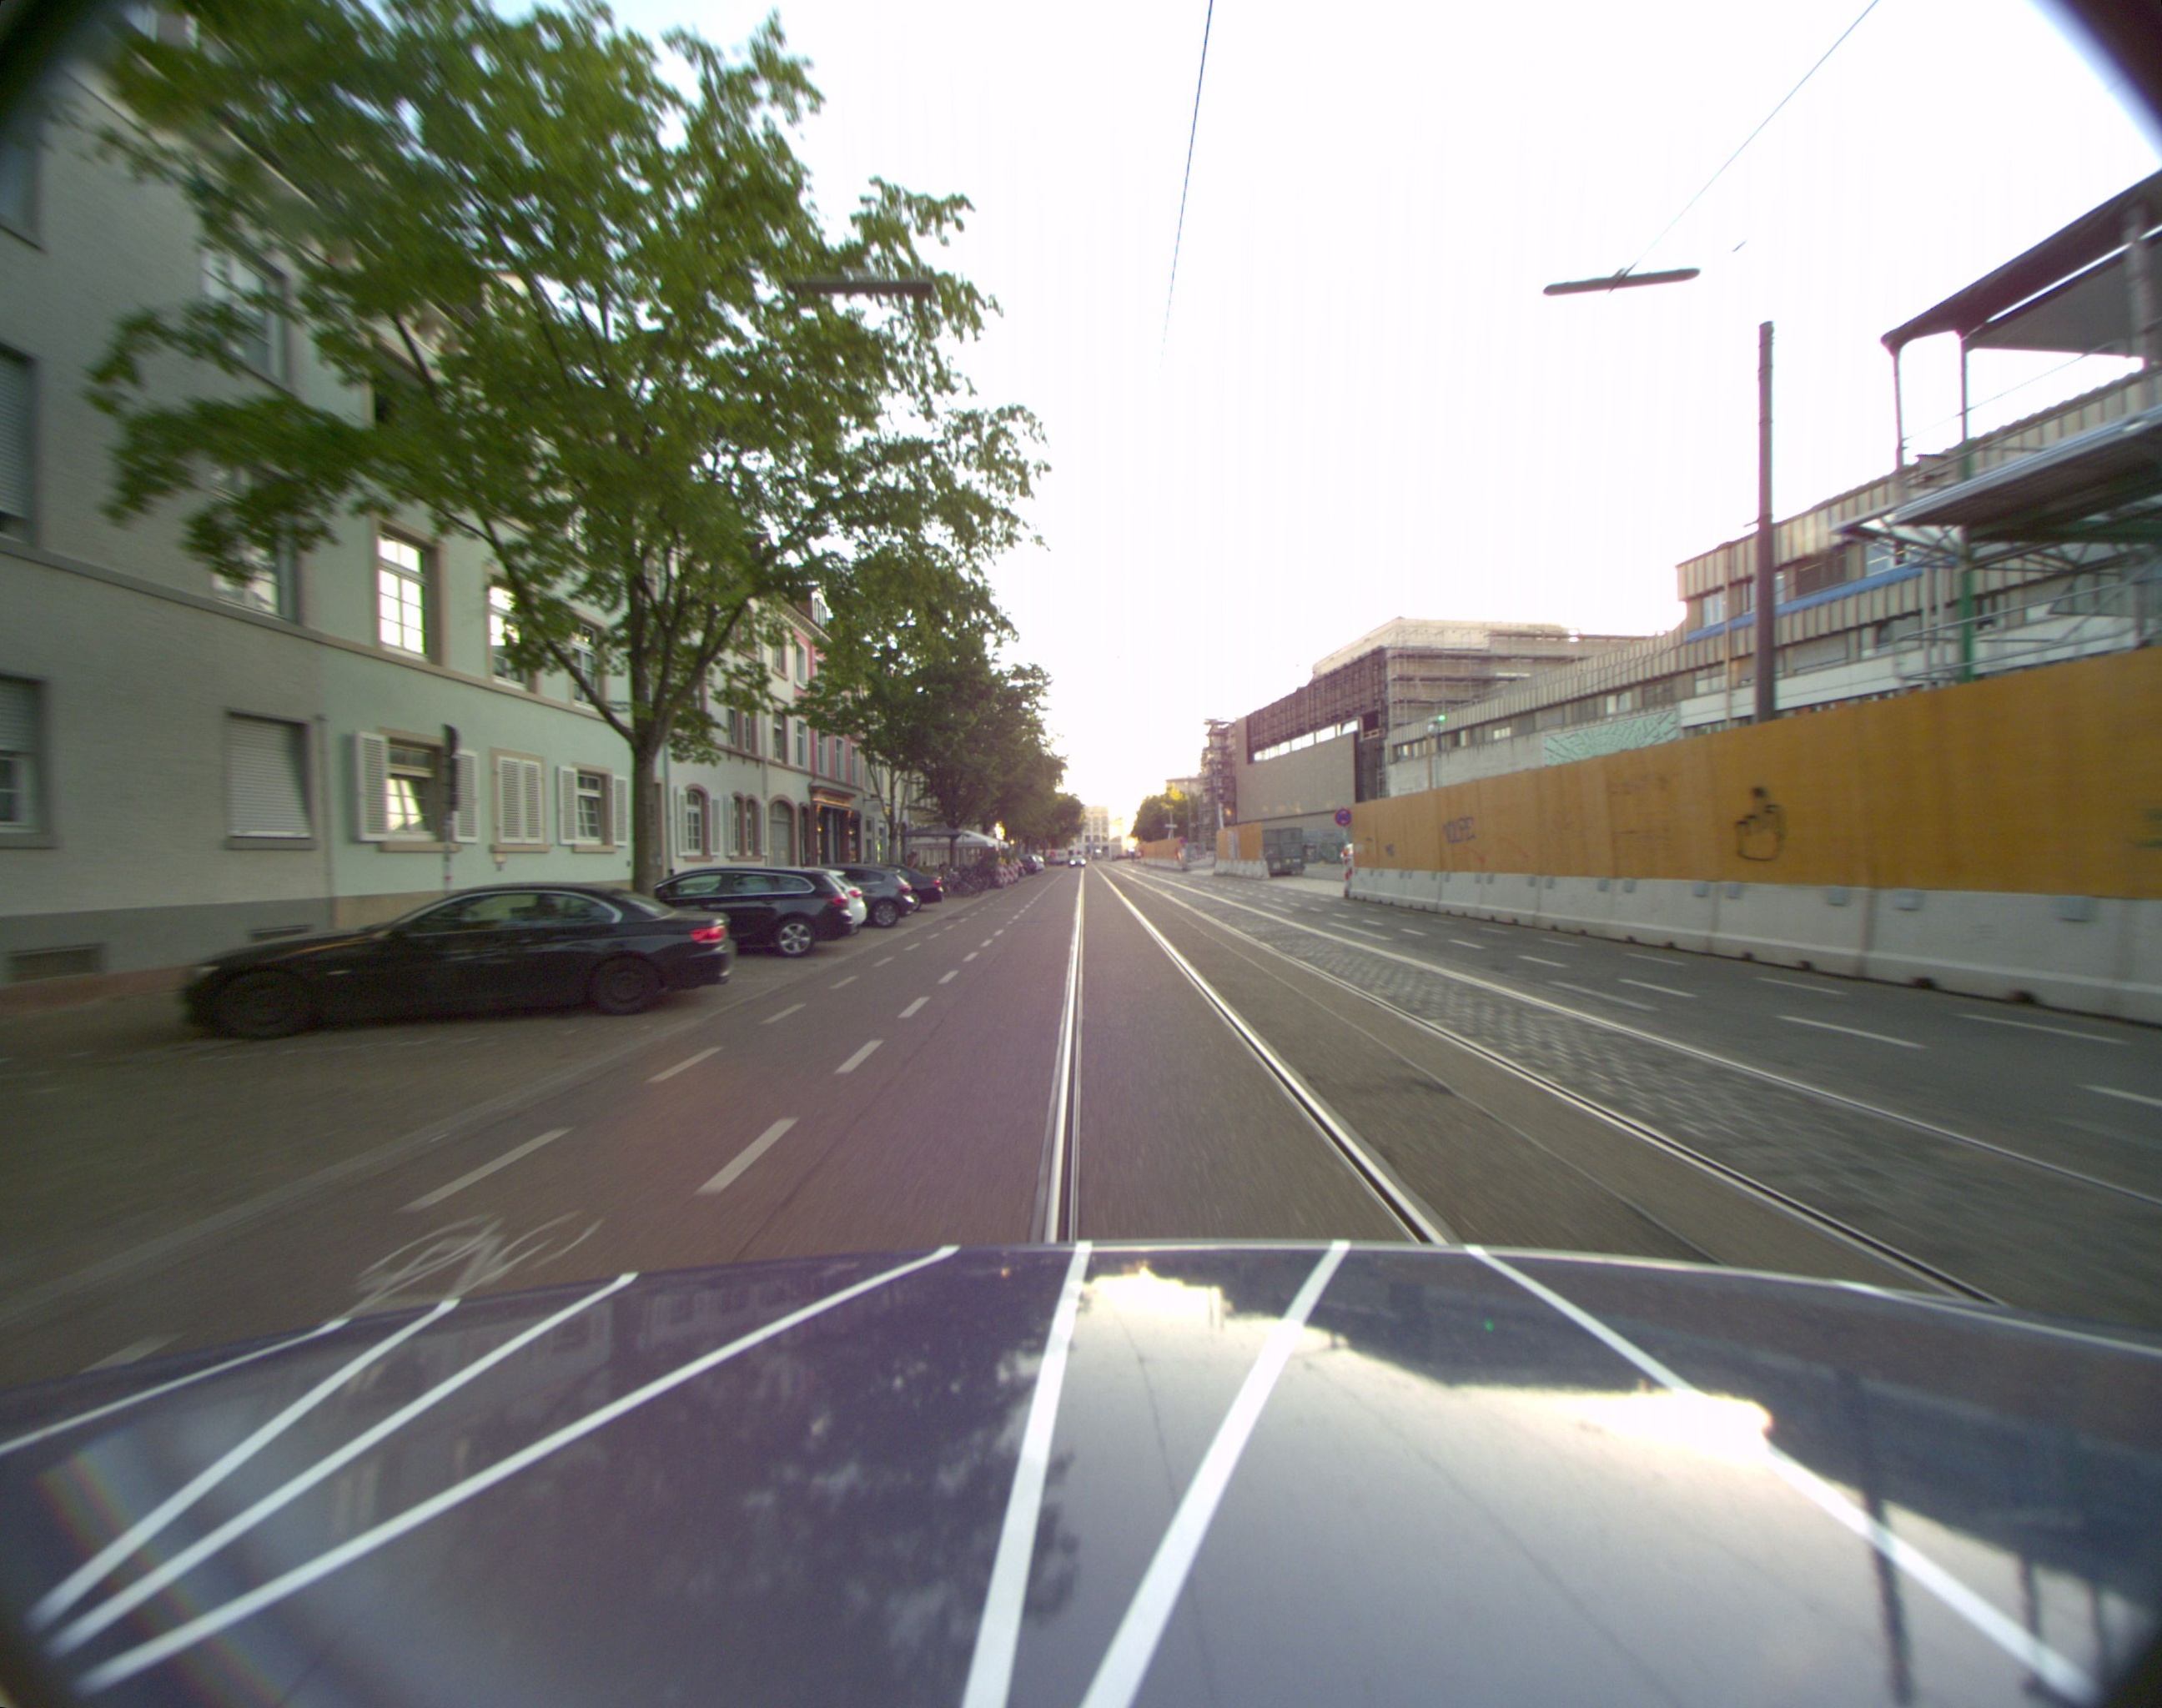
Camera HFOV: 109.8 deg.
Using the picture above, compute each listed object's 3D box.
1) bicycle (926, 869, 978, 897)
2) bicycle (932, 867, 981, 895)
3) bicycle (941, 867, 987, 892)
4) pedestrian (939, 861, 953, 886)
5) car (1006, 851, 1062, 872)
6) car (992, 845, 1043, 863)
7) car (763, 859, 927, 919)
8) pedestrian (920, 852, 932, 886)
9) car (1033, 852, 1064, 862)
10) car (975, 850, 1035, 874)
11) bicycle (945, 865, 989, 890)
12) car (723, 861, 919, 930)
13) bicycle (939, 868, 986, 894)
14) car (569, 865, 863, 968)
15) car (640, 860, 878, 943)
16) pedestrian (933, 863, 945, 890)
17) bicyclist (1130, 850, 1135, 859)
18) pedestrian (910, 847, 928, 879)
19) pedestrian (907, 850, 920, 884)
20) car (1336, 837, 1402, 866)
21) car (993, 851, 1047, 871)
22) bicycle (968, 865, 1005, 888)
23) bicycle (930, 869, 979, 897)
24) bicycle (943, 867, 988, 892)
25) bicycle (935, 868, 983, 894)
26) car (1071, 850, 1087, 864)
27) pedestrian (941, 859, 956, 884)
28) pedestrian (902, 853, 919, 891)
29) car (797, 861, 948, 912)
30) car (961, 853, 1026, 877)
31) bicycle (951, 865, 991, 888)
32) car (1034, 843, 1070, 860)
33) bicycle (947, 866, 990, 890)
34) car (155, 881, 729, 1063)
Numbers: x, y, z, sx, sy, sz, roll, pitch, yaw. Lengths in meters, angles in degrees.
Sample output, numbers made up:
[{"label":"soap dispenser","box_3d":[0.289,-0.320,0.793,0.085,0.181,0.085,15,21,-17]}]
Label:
[{"label":"bicycle","box_3d":[-5.030,1.135,29.722,1.908,1.025,0.533,2,1,-1]},{"label":"bicycle","box_3d":[-5.065,1.082,31.001,1.891,1.061,0.674,2,1,-1]},{"label":"bicycle","box_3d":[-5.079,1.109,33.120,1.891,1.025,0.608,2,1,-1]},{"label":"pedestrian","box_3d":[-6.908,0.998,38.892,0.599,1.285,0.504,-1,1,4]},{"label":"car","box_3d":[-4.043,0.621,65.128,4.662,1.678,2.007,1,0,-5]},{"label":"car","box_3d":[-6.675,0.018,79.689,4.984,1.816,2.204,0,0,-18]},{"label":"car","box_3d":[-6.235,0.933,20.381,3.964,1.462,1.998,1,0,-16]},{"label":"pedestrian","box_3d":[-8.204,0.797,40.188,0.553,1.753,0.714,-2,1,-17]},{"label":"car","box_3d":[-5.104,0.538,119.662,4.614,1.504,1.859,1,-1,-24]},{"label":"car","box_3d":[-5.929,0.614,59.068,4.167,1.796,2.003,0,0,-28]},{"label":"bicycle","box_3d":[-5.163,1.060,34.506,1.891,1.025,0.608,2,1,-1]},{"label":"car","box_3d":[-6.027,0.954,17.927,4.132,1.462,1.821,1,0,-17]},{"label":"bicycle","box_3d":[-5.036,1.130,32.375,1.891,1.025,0.608,2,1,-1]},{"label":"car","box_3d":[-5.986,0.976,12.866,4.135,1.462,2.011,1,0,-24]},{"label":"car","box_3d":[-6.382,0.905,15.340,4.135,1.462,1.983,1,0,-24]},{"label":"pedestrian","box_3d":[-7.032,1.097,37.694,0.504,1.285,0.599,-2,1,-10]},{"label":"bicyclist","box_3d":[9.963,0.060,146.608,0.770,1.656,1.018,-1,0,0]},{"label":"pedestrian","box_3d":[-8.919,0.484,41.800,0.705,1.753,0.713,-2,1,-27]},{"label":"pedestrian","box_3d":[-8.804,0.658,39.960,0.553,1.753,0.851,-2,1,-17]},{"label":"car","box_3d":[17.694,-0.136,46.907,2.000,1.654,4.277,-2,0,-7]},{"label":"car","box_3d":[-5.381,0.578,67.739,4.661,1.678,2.008,1,0,-1]},{"label":"bicycle","box_3d":[-4.564,1.092,36.814,1.683,1.025,0.557,2,1,-1]},{"label":"bicycle","box_3d":[-5.039,1.162,30.343,1.868,1.025,0.591,2,1,-2]},{"label":"bicycle","box_3d":[-5.113,1.120,33.774,1.891,1.025,0.608,2,1,-1]},{"label":"bicycle","box_3d":[-5.061,1.114,31.668,1.891,1.025,0.608,2,1,-1]},{"label":"car","box_3d":[-0.186,0.405,95.505,1.840,1.631,4.169,-5,0,1]},{"label":"pedestrian","box_3d":[-7.242,0.956,41.539,0.553,1.298,0.713,-2,1,-27]},{"label":"pedestrian","box_3d":[-8.167,0.848,36.360,0.552,1.753,0.894,-2,1,0]},{"label":"car","box_3d":[-6.236,0.965,22.784,4.179,1.418,1.820,1,0,-18]},{"label":"car","box_3d":[-5.834,0.713,50.667,3.979,1.544,1.702,0,0,-25]},{"label":"bicycle","box_3d":[-5.196,1.048,35.949,1.820,1.025,0.608,2,1,-1]},{"label":"car","box_3d":[-4.788,-0.351,125.791,5.650,2.678,2.166,-1,0,-34]},{"label":"bicycle","box_3d":[-5.204,1.101,35.172,1.891,1.025,0.608,2,1,-1]},{"label":"car","box_3d":[-6.153,1.050,8.112,4.269,1.384,2.011,0,1,-23]}]
